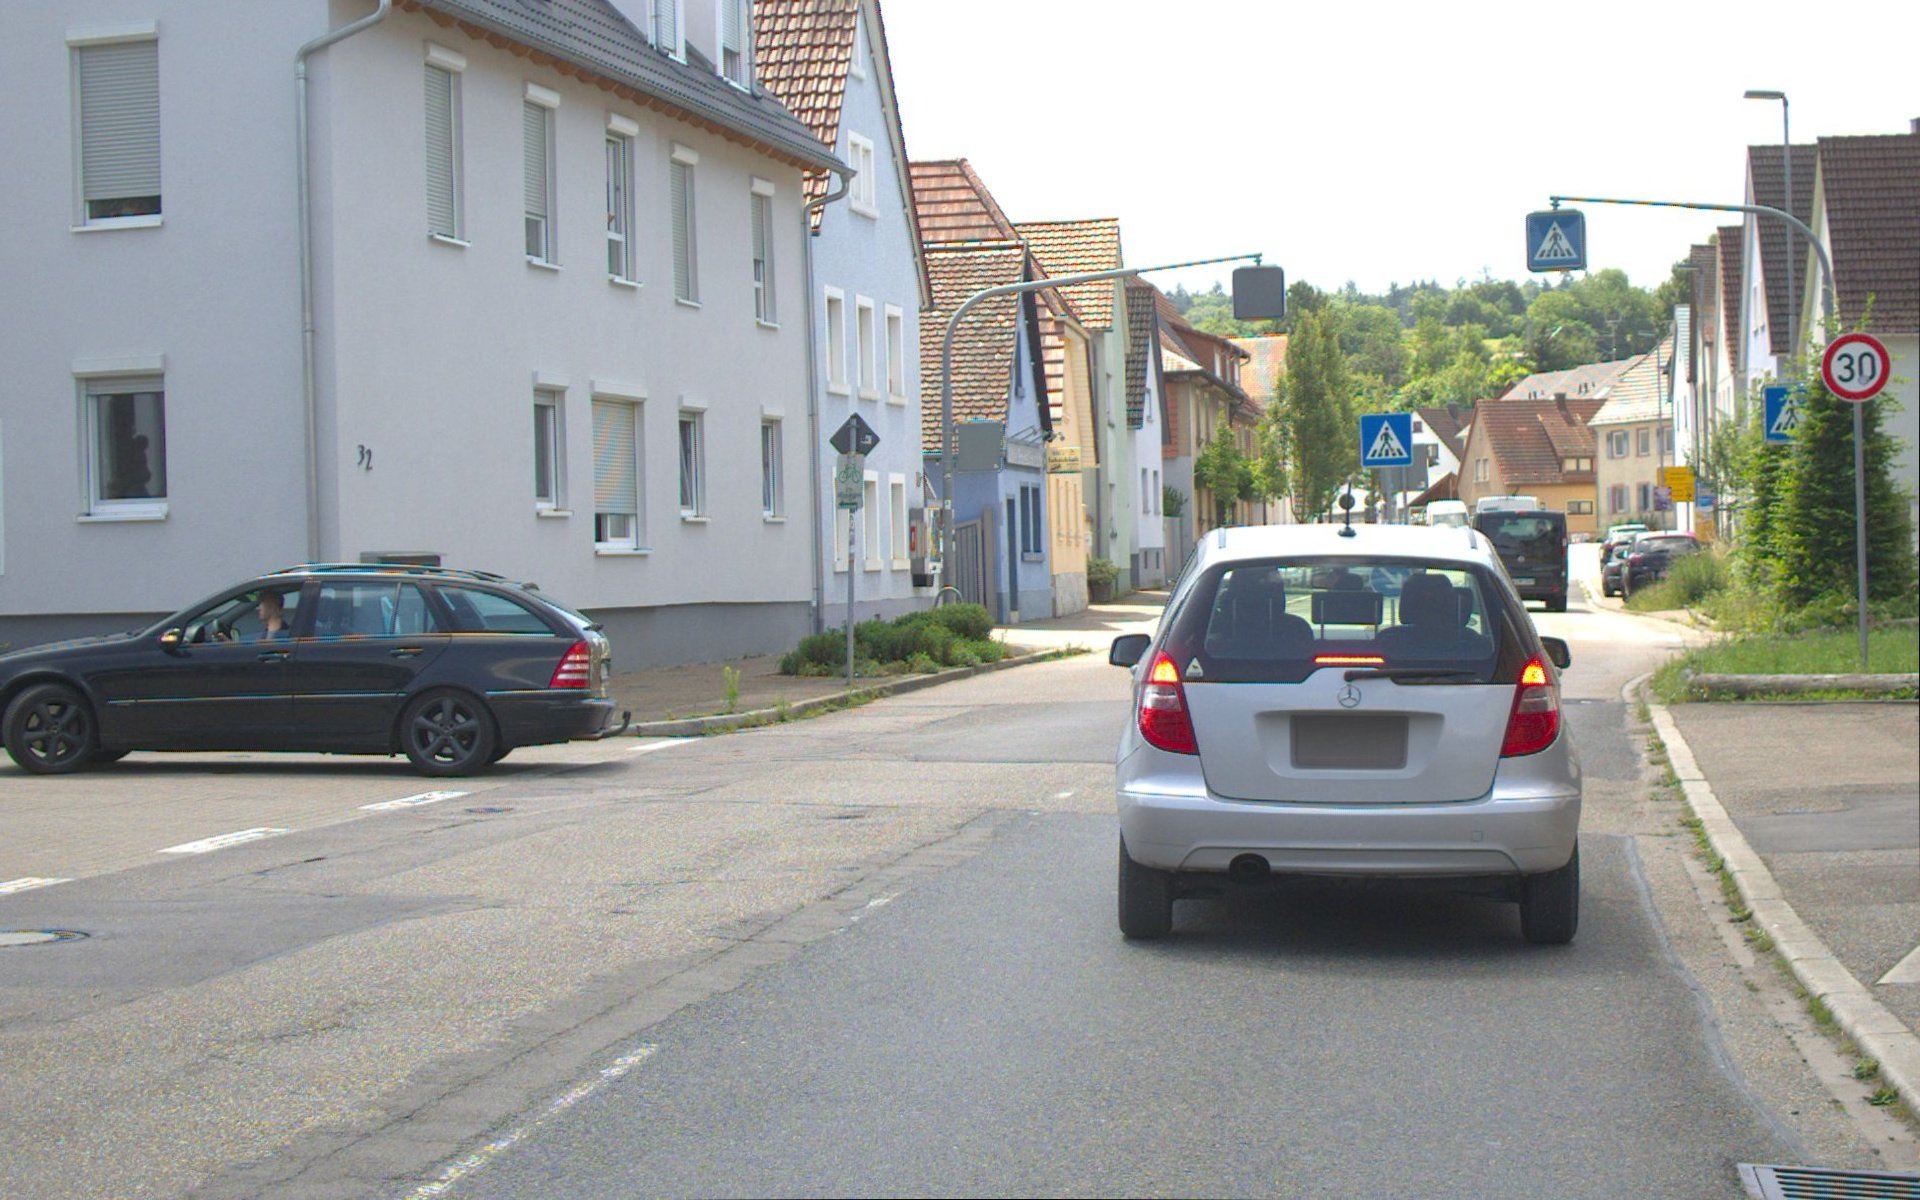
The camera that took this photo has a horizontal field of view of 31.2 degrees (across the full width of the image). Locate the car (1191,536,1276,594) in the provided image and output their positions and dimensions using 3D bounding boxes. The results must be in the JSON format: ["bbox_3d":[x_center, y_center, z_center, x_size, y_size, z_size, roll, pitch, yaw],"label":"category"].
[{"bbox_3d":[6.546,-0.823,82.638,1.994,1.317,3.708,0,-1,4],"label":"car"}]

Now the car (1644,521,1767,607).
[{"bbox_3d":[13.728,-0.638,63.494,1.994,1.503,3.998,0,-1,9],"label":"car"}]

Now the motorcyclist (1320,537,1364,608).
[{"bbox_3d":[8.389,-0.607,75.448,0.896,1.549,0.807,0,1,9],"label":"motorcyclist"}]

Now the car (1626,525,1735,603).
[{"bbox_3d":[14.724,-0.708,70.413,1.994,1.503,3.998,0,-1,9],"label":"car"}]

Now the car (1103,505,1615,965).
[{"bbox_3d":[1.521,0.467,14.326,1.810,1.638,3.729,1,1,2],"label":"car"}]

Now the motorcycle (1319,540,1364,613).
[{"bbox_3d":[8.388,-0.532,75.587,0.880,1.555,1.967,0,1,9],"label":"motorcycle"}]

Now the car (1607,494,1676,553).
[{"bbox_3d":[22.450,-2.502,113.322,1.994,1.810,3.998,0,-1,8],"label":"car"}]

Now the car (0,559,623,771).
[{"bbox_3d":[-4.722,0.444,23.887,4.621,1.407,1.814,0,-1,-1],"label":"car"}]

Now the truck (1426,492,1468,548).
[{"bbox_3d":[23.924,-3.899,168.805,1.994,2.528,6.737,0,-1,8],"label":"truck"}]

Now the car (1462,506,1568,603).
[{"bbox_3d":[10.933,-0.869,67.900,1.994,1.810,3.998,0,-1,8],"label":"car"}]

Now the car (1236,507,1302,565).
[{"bbox_3d":[9.122,-1.873,101.245,1.668,1.590,3.998,0,-1,9],"label":"car"}]

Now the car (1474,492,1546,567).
[{"bbox_3d":[15.723,-1.994,98.363,1.994,2.007,3.998,0,-1,9],"label":"car"}]
